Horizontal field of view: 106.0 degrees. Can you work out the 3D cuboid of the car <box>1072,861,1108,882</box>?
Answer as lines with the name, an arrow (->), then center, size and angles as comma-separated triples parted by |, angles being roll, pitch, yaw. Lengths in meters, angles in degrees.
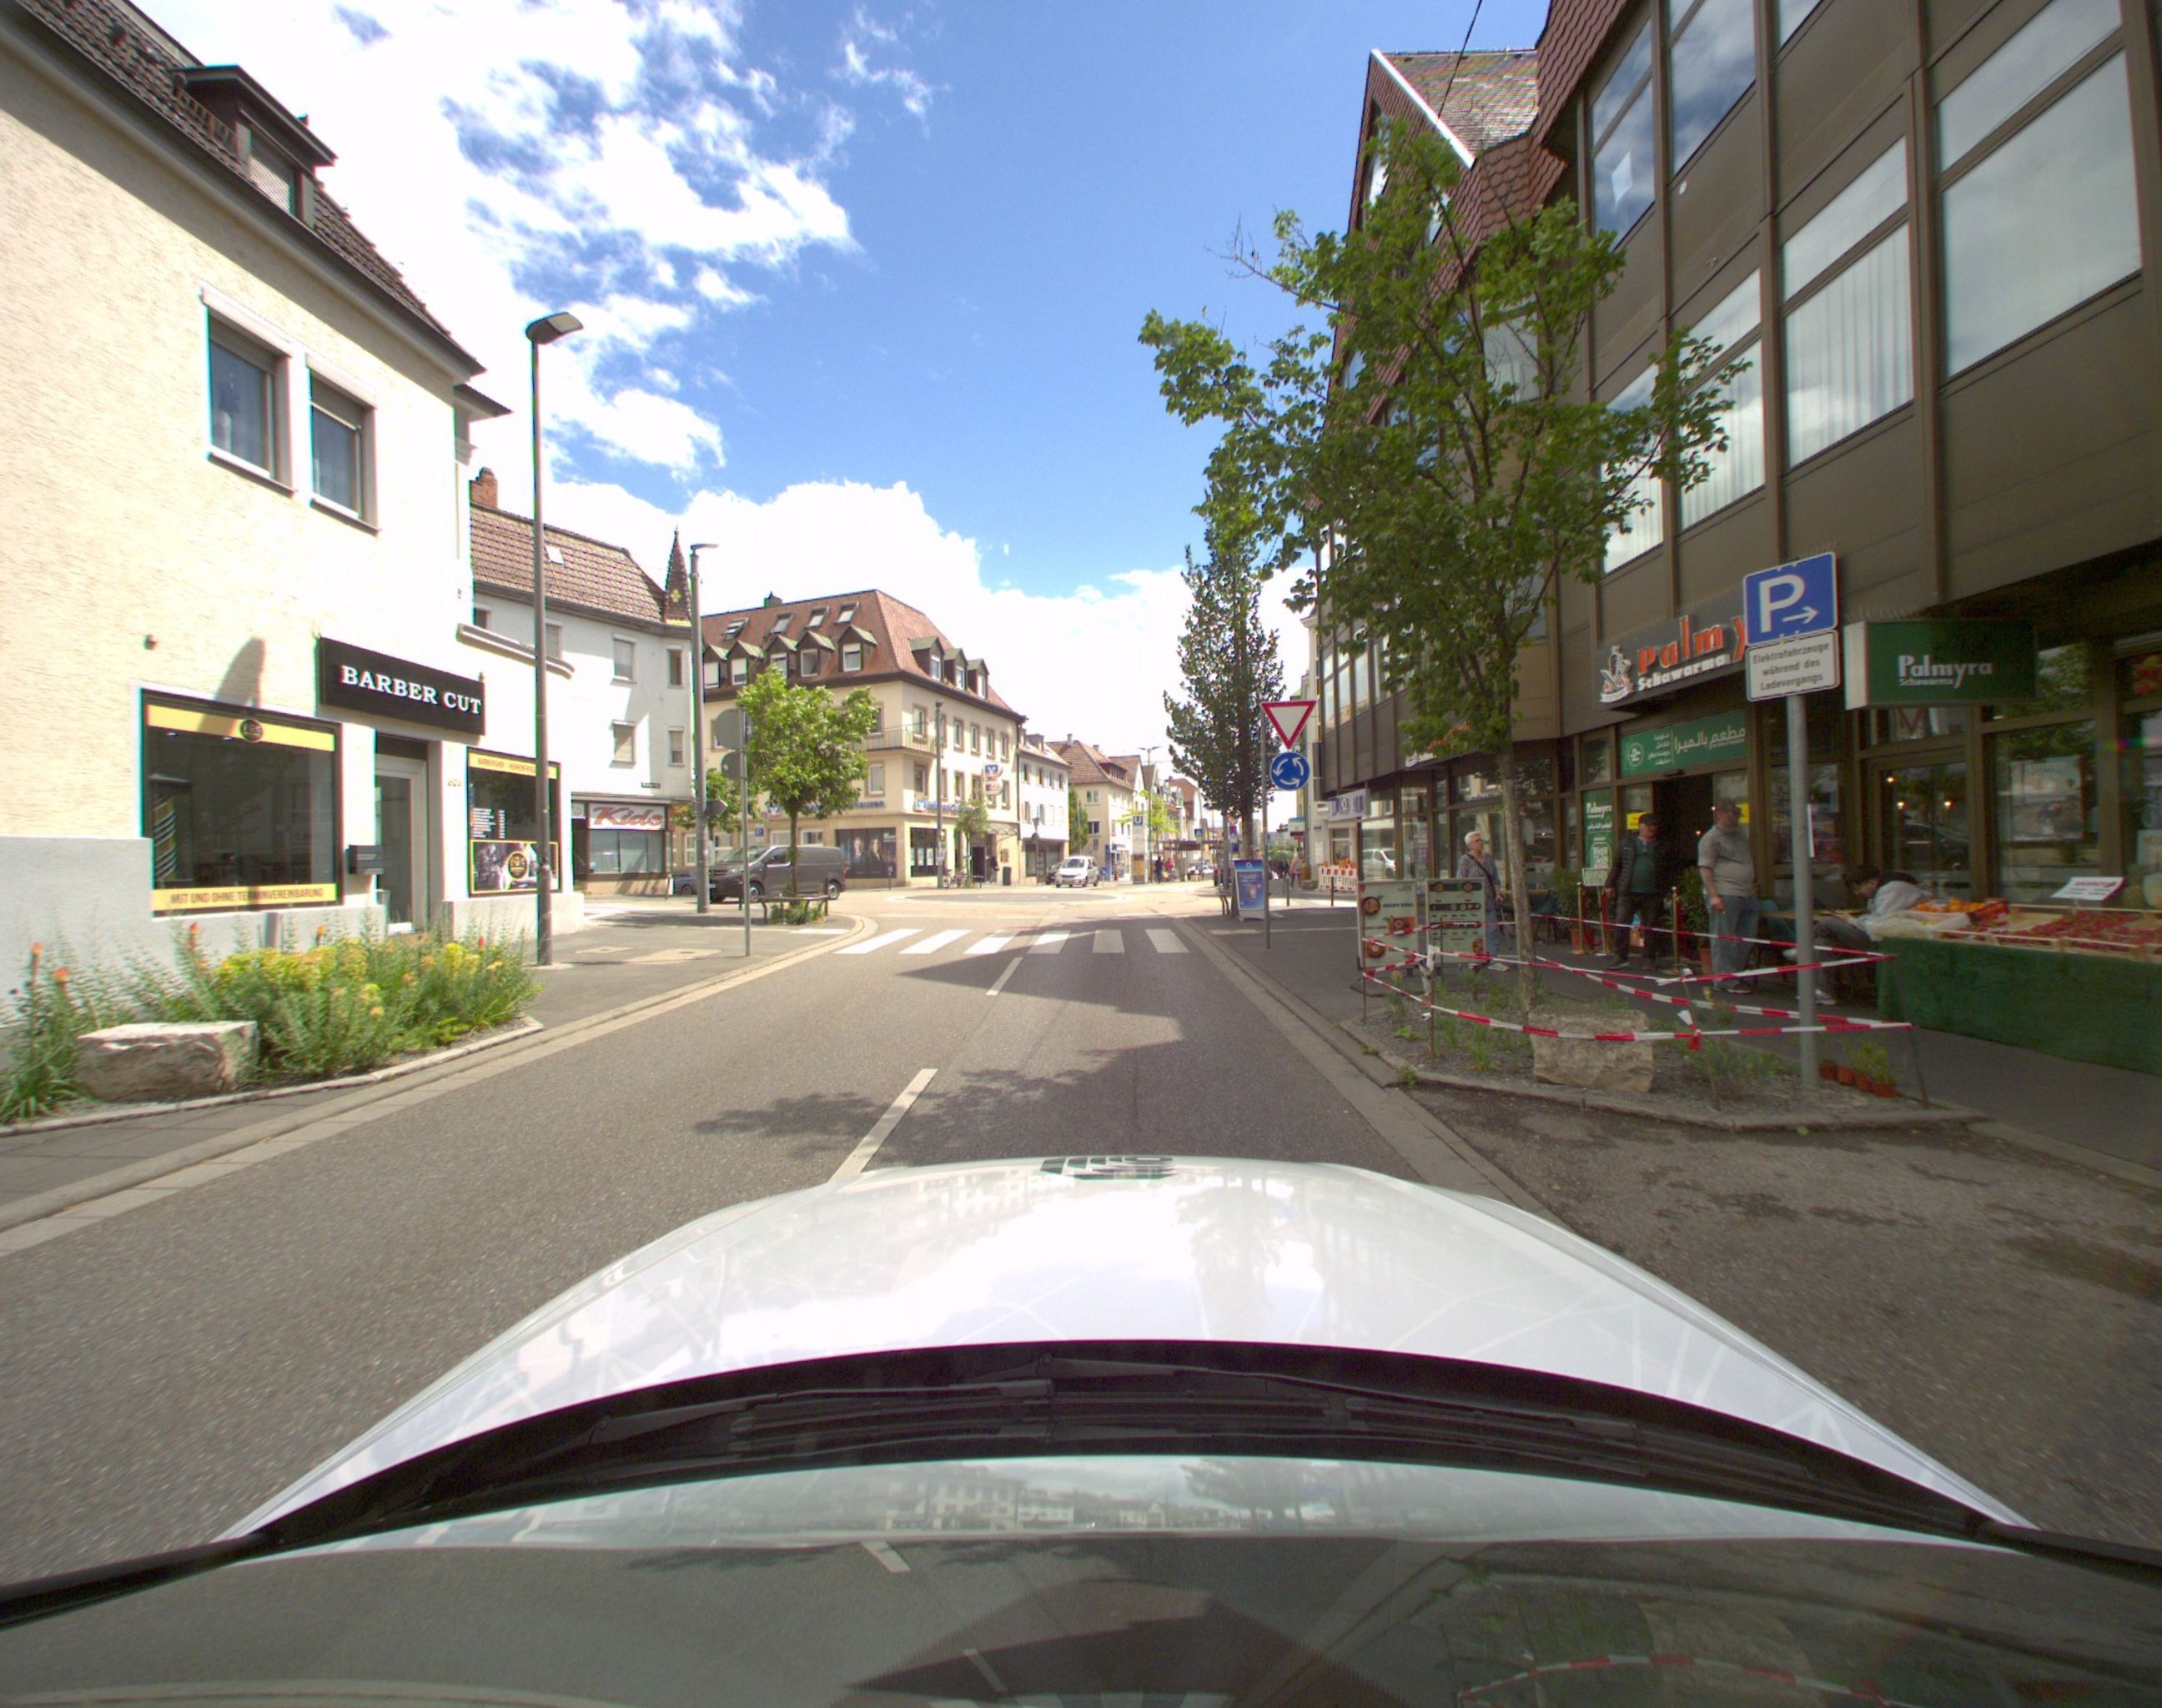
car -> 0.759, 1.332, 62.816 | 1.832, 1.545, 4.016 | 0, 0, 15

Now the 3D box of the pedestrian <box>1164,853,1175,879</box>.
pedestrian -> 6.273, 0.844, 57.574 | 0.722, 1.763, 0.751 | -1, 0, 12

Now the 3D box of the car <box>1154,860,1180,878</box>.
car -> 8.257, 1.410, 77.848 | 1.861, 1.624, 4.016 | 0, 0, 15

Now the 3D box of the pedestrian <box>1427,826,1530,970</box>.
pedestrian -> 4.732, 0.508, 9.755 | 0.781, 1.615, 0.800 | -3, -1, 2

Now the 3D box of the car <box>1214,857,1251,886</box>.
car -> 8.377, 0.914, 44.738 | 1.685, 1.530, 3.485 | 0, 0, 15

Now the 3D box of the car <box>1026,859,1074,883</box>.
car -> -1.939, 1.070, 52.115 | 1.979, 1.453, 4.016 | 0, 0, 15

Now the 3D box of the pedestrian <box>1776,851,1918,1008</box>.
pedestrian -> 6.394, 0.605, 6.830 | 0.618, 1.253, 0.614 | 0, -1, 4

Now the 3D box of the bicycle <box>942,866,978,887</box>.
bicycle -> -5.855, 1.076, 39.262 | 1.619, 1.031, 0.570 | 0, -1, 17

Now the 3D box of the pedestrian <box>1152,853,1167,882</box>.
pedestrian -> 4.586, 0.777, 47.509 | 0.865, 1.708, 0.531 | 0, -1, 4

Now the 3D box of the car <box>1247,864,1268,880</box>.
car -> 19.132, 1.938, 88.357 | 1.939, 1.640, 4.008 | 0, 0, 7

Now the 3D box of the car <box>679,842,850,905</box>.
car -> -10.134, 0.582, 26.521 | 2.021, 1.848, 5.030 | 0, 0, 30

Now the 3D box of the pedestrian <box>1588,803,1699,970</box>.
pedestrian -> 6.341, 0.356, 9.211 | 0.806, 1.813, 0.655 | 0, -1, 1

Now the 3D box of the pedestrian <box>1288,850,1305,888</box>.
pedestrian -> 9.590, 0.661, 36.277 | 0.619, 1.690, 0.652 | 0, -1, 1

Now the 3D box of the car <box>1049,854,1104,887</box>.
car -> -0.202, 0.852, 43.860 | 1.979, 1.689, 4.015 | 0, 0, 14

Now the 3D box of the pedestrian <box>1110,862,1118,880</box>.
pedestrian -> 2.993, 1.573, 73.482 | 0.689, 1.610, 0.645 | 0, -1, 6

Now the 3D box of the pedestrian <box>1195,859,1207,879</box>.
pedestrian -> 9.649, 1.181, 65.419 | 0.720, 1.579, 0.753 | -1, 0, 36

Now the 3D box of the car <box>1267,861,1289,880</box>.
car -> 16.128, 1.334, 66.559 | 1.685, 1.530, 3.485 | 0, 0, 15

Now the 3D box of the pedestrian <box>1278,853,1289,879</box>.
pedestrian -> 13.295, 0.770, 53.480 | 0.619, 1.690, 0.652 | 0, -1, 1

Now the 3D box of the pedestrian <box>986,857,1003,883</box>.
pedestrian -> -5.182, 0.931, 48.841 | 0.620, 1.532, 0.864 | 0, -1, 26

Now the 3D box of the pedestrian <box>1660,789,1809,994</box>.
pedestrian -> 6.170, 0.342, 7.732 | 0.734, 1.814, 0.712 | -4, -1, 2

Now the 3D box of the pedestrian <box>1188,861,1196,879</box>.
pedestrian -> 7.937, 1.152, 58.121 | 0.588, 1.316, 0.592 | 0, -1, 7
